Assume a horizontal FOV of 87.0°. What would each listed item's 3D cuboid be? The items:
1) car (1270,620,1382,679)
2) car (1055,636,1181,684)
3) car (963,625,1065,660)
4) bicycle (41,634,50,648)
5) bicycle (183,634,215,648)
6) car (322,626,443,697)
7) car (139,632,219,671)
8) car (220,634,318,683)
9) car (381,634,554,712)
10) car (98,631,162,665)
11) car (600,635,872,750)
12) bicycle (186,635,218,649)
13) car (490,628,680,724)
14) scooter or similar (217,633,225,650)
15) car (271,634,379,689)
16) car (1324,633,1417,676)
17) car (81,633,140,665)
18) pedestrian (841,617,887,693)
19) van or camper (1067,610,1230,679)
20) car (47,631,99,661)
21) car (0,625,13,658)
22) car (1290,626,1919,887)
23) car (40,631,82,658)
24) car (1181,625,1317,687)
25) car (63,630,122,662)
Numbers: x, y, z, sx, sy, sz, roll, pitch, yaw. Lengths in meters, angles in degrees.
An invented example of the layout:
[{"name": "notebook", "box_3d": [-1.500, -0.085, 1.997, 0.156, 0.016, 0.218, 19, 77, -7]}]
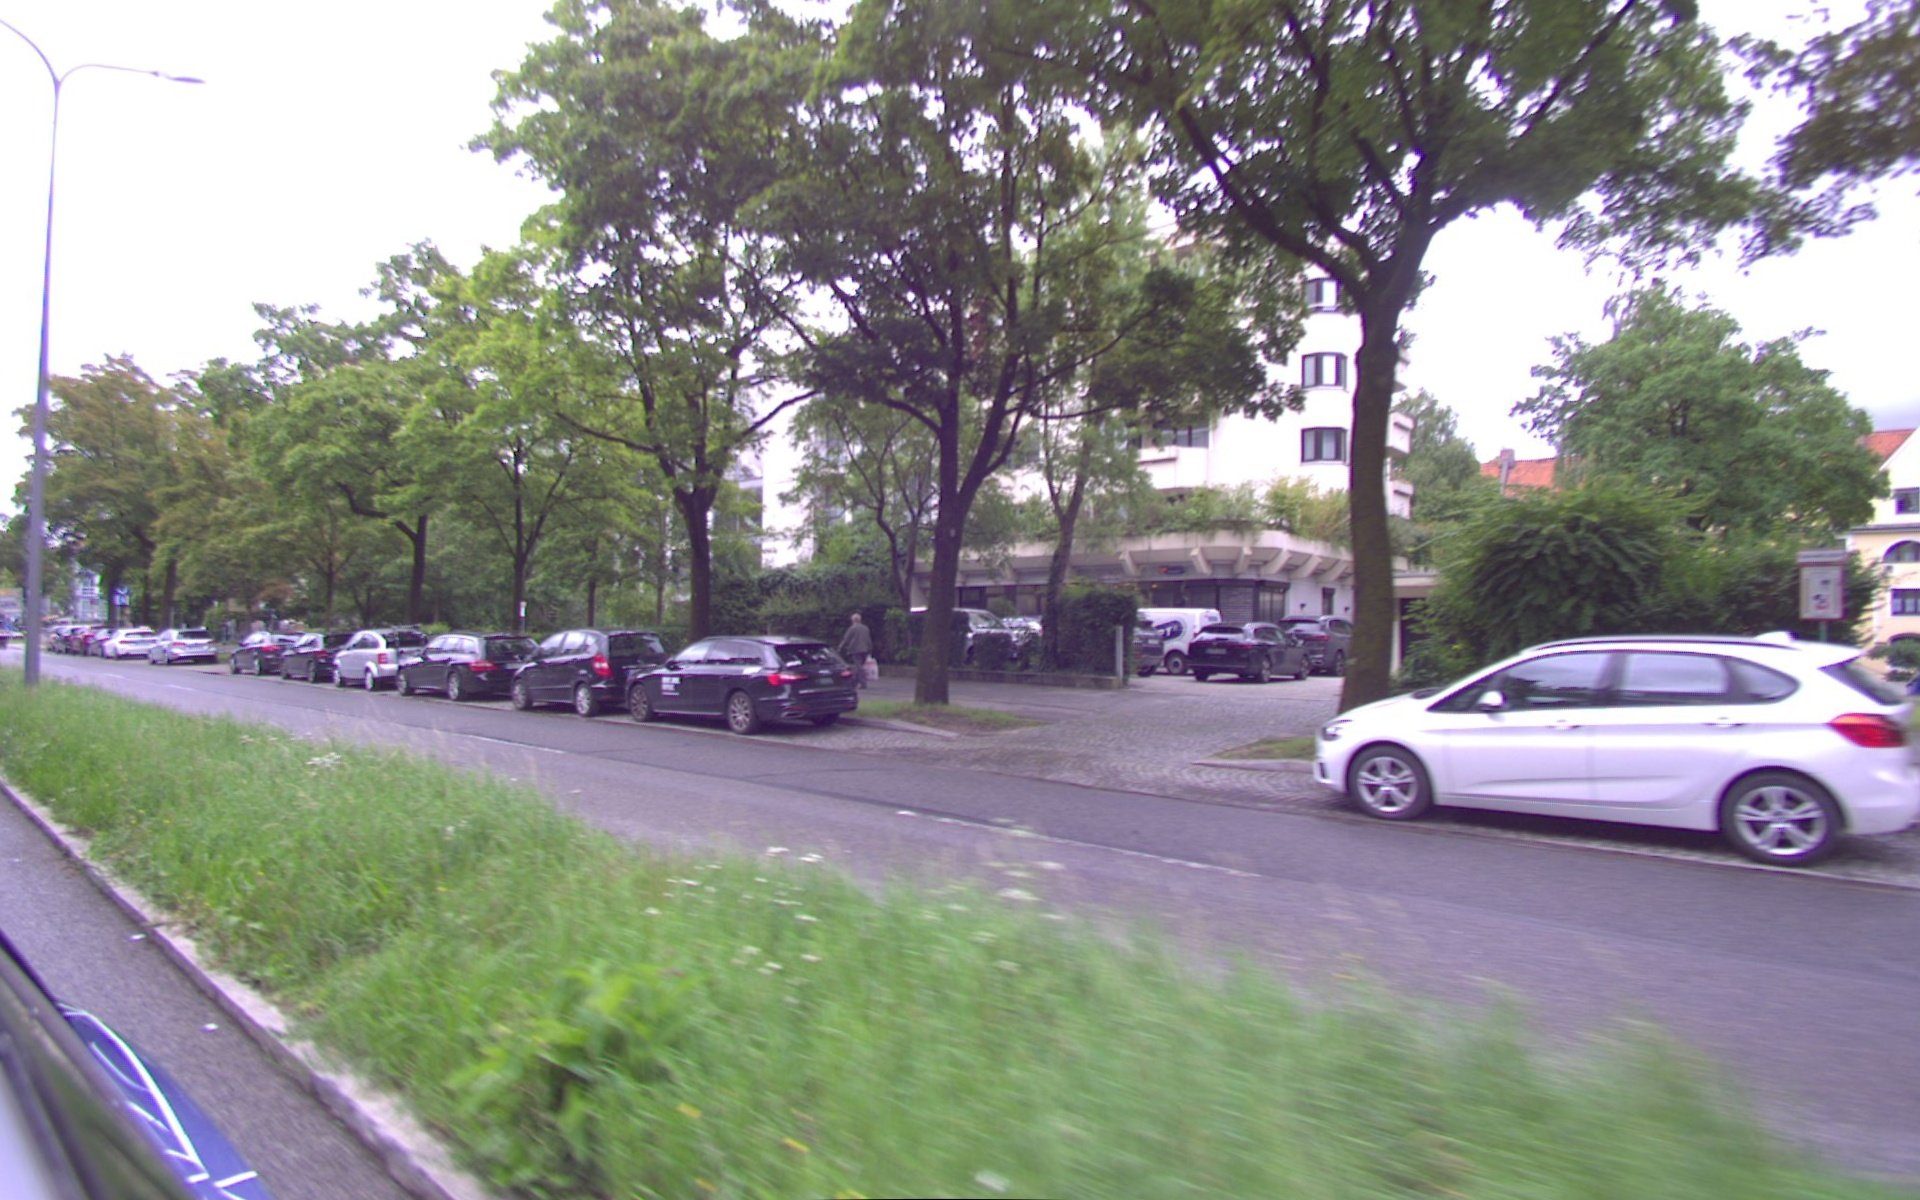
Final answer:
[{"name": "car", "box_3d": [10.792, 1.427, 29.688, 1.787, 1.603, 3.935, -2, -3, 41]}, {"name": "car", "box_3d": [4.269, 1.602, 27.606, 3.126, 1.209, 1.440, -2, -3, 42]}, {"name": "car", "box_3d": [1.732, 1.365, 33.024, 3.126, 1.092, 1.440, -2, -3, 42]}, {"name": "bicycle", "box_3d": [-75.088, 3.380, 83.088, 1.954, 1.086, 0.403, -2, 1, 44]}, {"name": "bicycle", "box_3d": [-54.261, 2.918, 72.209, 0.436, 1.014, 1.744, -2, -3, 41]}, {"name": "car", "box_3d": [-15.265, 1.560, 26.669, 3.866, 1.660, 1.608, -2, 0, 42]}, {"name": "car", "box_3d": [-32.630, 2.119, 42.243, 4.820, 1.459, 1.718, -2, 0, 41]}, {"name": "car", "box_3d": [-22.744, 1.883, 33.258, 4.360, 1.434, 1.564, -2, 0, 41]}, {"name": "car", "box_3d": [-11.361, 1.576, 23.172, 5.031, 1.536, 1.698, -2, 0, 41]}, {"name": "car", "box_3d": [-39.894, 2.263, 48.588, 4.473, 1.541, 1.720, -2, -1, 42]}, {"name": "car", "box_3d": [-3.760, 1.364, 16.362, 4.946, 1.525, 1.741, -2, -1, 42]}, {"name": "bicycle", "box_3d": [-53.813, 2.970, 71.819, 0.436, 1.014, 1.744, -2, -3, 41]}, {"name": "car", "box_3d": [-7.312, 1.382, 19.519, 4.209, 1.609, 1.668, -2, -1, 42]}, {"name": "scooter or similar", "box_3d": [-49.809, 2.784, 68.219, 0.429, 1.135, 1.292, 2, -3, -36]}, {"name": "car", "box_3d": [-18.684, 1.745, 29.708, 4.191, 1.434, 1.608, -2, 0, 42]}, {"name": "car", "box_3d": [13.431, 1.740, 33.006, 1.635, 1.311, 3.935, -2, -3, 41]}, {"name": "car", "box_3d": [-43.754, 2.485, 52.082, 4.332, 1.494, 1.720, -2, -1, 42]}, {"name": "pedestrian", "box_3d": [-2.157, 1.227, 22.740, 0.838, 1.669, 0.609, 3, -3, -43]}, {"name": "van or camper", "box_3d": [5.489, 1.289, 29.783, 4.430, 1.885, 1.837, -2, -3, 42]}, {"name": "car", "box_3d": [-51.857, 2.657, 59.146, 4.682, 1.656, 1.720, -2, -2, 42]}, {"name": "car", "box_3d": [-66.867, 2.812, 69.338, 5.796, 2.211, 2.186, -2, -4, 41]}, {"name": "car", "box_3d": [5.259, 1.060, 8.348, 4.486, 1.607, 1.739, -2, -1, 40]}, {"name": "car", "box_3d": [-55.872, 2.750, 62.876, 3.819, 1.626, 1.629, -2, -2, 43]}, {"name": "car", "box_3d": [7.296, 1.357, 25.366, 1.861, 1.429, 3.937, -2, -3, 39]}, {"name": "car", "box_3d": [-47.490, 2.486, 55.369, 4.602, 1.664, 1.721, -2, -1, 40]}]
